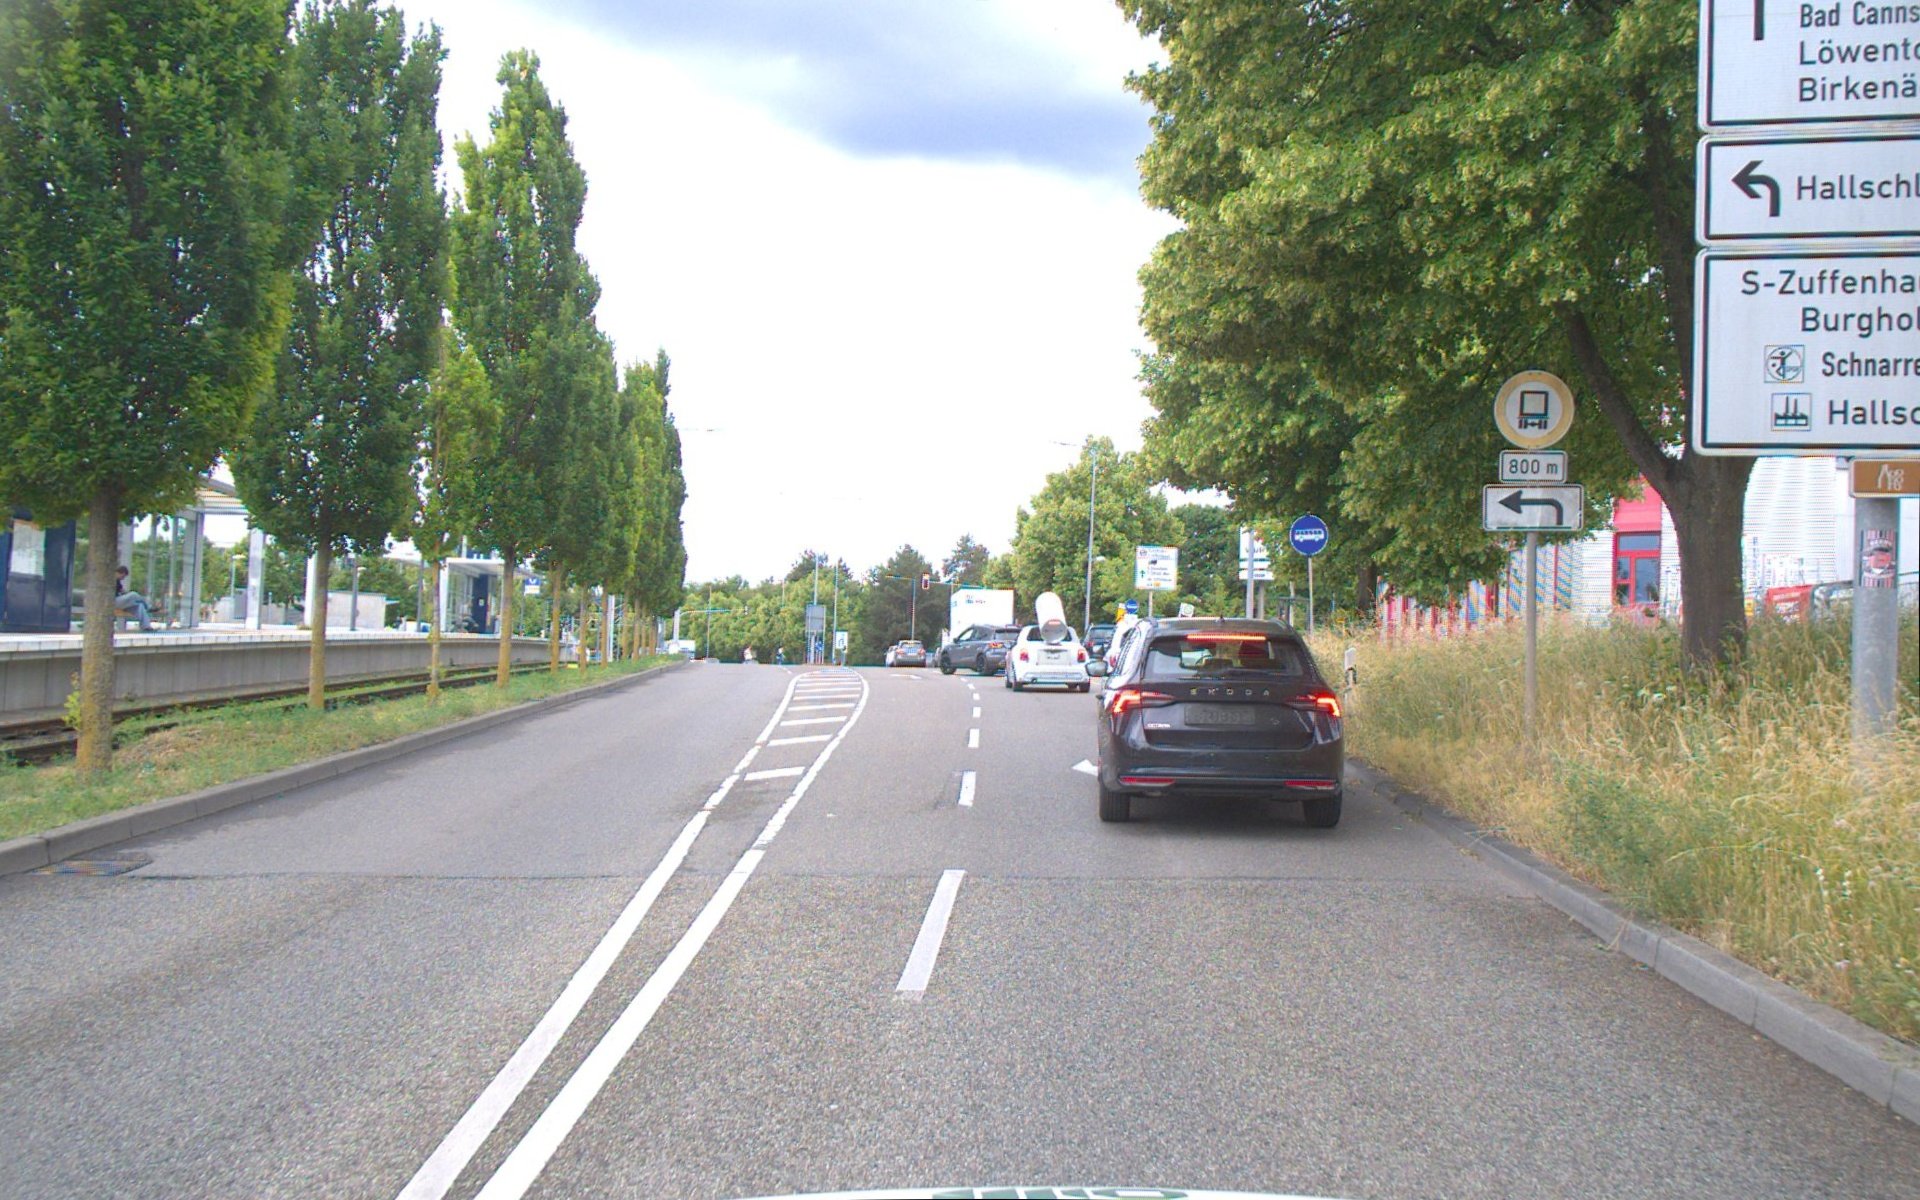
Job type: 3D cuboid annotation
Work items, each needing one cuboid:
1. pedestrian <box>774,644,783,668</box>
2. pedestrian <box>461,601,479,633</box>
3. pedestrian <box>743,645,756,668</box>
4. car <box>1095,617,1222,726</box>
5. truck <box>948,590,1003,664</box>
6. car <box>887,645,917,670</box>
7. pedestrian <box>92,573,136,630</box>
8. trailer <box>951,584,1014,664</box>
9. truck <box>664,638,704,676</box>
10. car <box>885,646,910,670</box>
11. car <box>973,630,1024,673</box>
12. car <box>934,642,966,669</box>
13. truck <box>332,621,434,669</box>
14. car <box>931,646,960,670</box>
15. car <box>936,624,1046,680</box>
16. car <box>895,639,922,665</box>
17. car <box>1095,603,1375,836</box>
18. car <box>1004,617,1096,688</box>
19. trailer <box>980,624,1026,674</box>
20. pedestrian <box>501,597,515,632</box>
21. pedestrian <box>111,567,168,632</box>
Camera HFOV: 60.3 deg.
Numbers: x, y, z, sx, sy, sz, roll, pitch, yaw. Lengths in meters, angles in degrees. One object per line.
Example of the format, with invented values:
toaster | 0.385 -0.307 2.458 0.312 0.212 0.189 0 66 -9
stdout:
pedestrian | -12.708 3.925 115.626 0.575 1.650 0.422 1 0 -6
pedestrian | -19.899 0.702 67.140 0.599 1.291 0.658 1 0 -10
pedestrian | -14.547 3.886 114.368 0.847 1.588 0.517 1 0 -7
car | 2.912 1.021 24.843 1.589 1.483 3.689 1 -1 2
truck | 0.784 1.447 86.761 2.520 3.771 4.102 1 -2 -4
car | -3.683 3.651 104.467 1.688 1.447 4.351 1 -3 -5
pedestrian | -16.402 0.032 32.069 0.595 1.098 0.470 1 0 -6
trailer | 1.052 1.286 82.673 2.515 3.771 7.756 1 -2 -4
truck | -29.350 6.014 175.564 2.619 3.713 9.451 3 -1 -18
car | -4.157 3.853 109.831 1.505 1.531 2.667 1 -3 -5
car | 1.343 1.843 59.031 1.637 1.473 4.487 1 -2 -1
car | -0.614 3.227 96.511 1.775 1.378 4.117 2 0 -1
truck | -45.796 3.544 131.429 7.092 3.662 2.691 1 0 -1
car | -0.949 3.783 106.994 1.516 1.429 3.994 1 -3 -5
car | 0.896 1.551 49.936 1.678 1.512 3.966 2 0 -26
car | -2.960 2.967 95.231 1.494 1.378 3.489 1 0 -2
car | 2.005 0.793 13.110 1.797 1.457 4.281 2 0 5
car | 1.963 1.175 37.022 1.684 1.483 3.694 1 -2 -2
trailer | 1.407 1.631 55.138 1.380 1.622 3.302 1 -2 -1
pedestrian | -24.298 0.798 88.928 0.561 1.860 0.792 2 -3 -8
pedestrian | -15.561 -0.006 31.363 0.746 1.220 0.664 1 -1 -5
